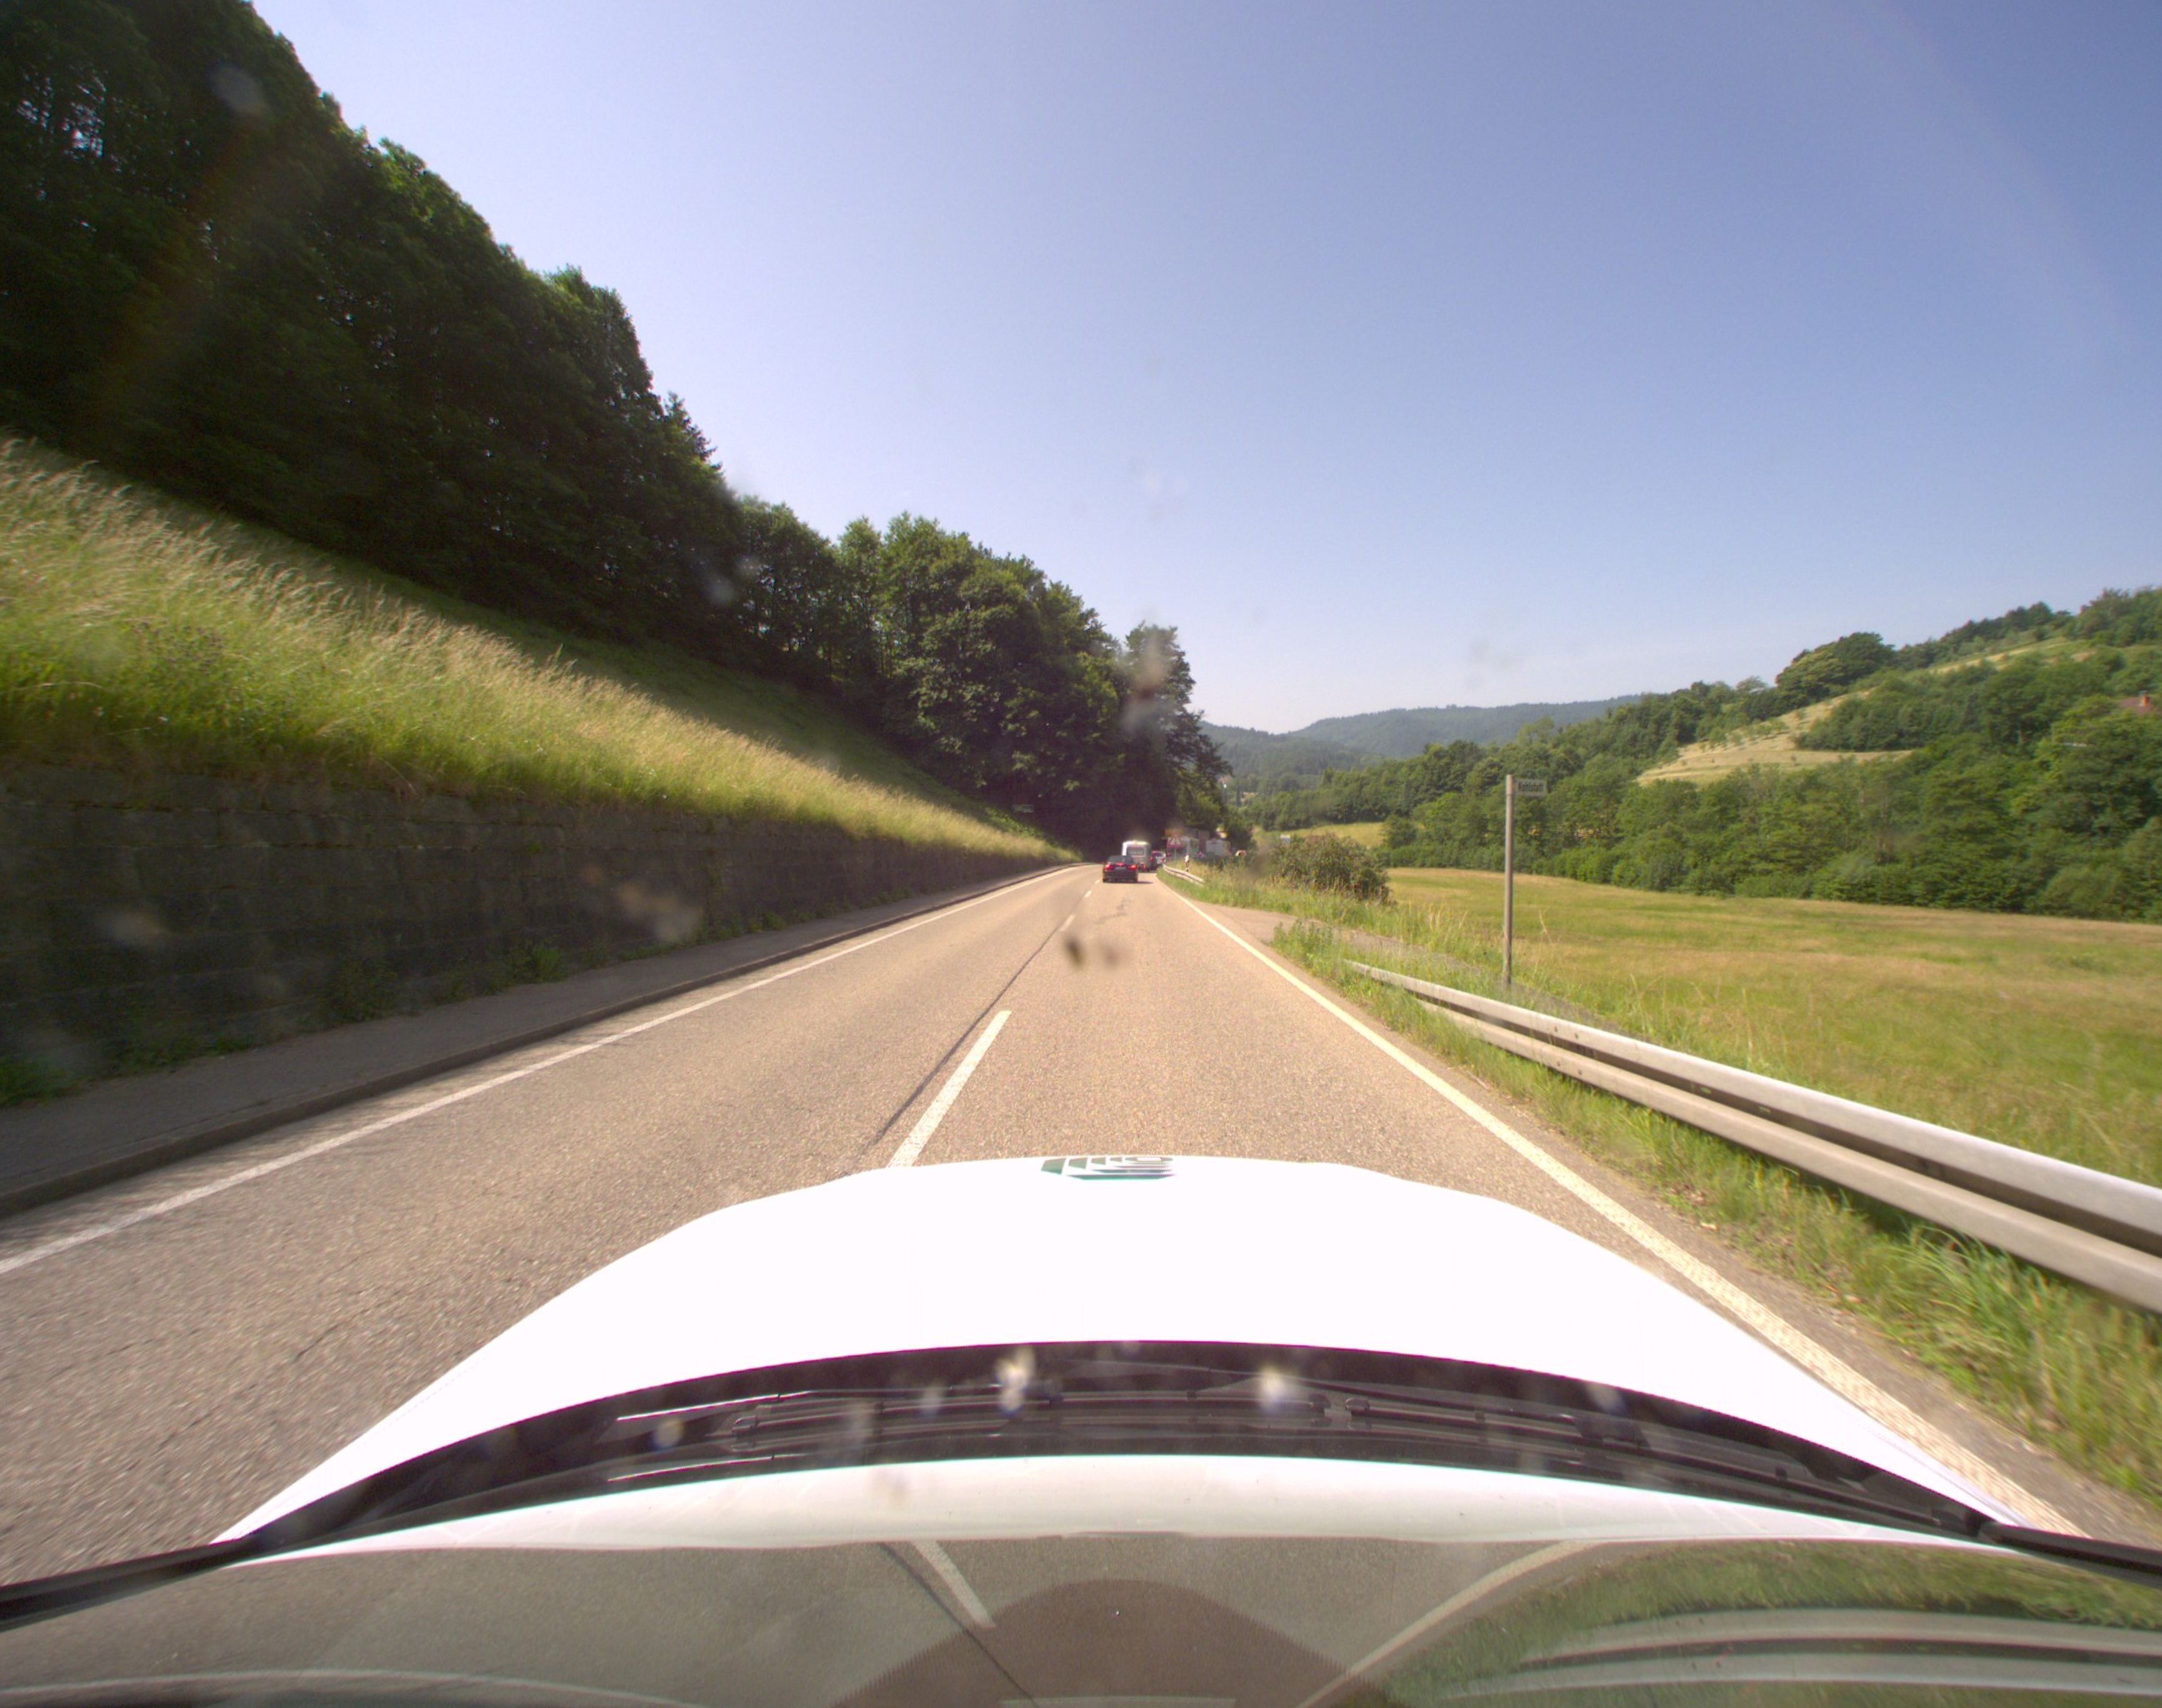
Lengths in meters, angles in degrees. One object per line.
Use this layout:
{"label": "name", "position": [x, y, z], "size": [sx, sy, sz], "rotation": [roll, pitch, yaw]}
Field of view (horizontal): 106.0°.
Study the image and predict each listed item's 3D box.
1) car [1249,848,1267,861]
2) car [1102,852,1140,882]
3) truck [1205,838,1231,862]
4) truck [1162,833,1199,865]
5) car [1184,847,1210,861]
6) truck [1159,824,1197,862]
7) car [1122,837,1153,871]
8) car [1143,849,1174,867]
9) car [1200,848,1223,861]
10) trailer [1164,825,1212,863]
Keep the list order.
{"label": "car", "position": [29.714, 0.061, 136.642], "size": [1.976, 1.925, 4.022], "rotation": [3, 2, 24]}
{"label": "car", "position": [2.003, 0.630, 40.712], "size": [1.764, 1.335, 3.769], "rotation": [3, 0, 2]}
{"label": "truck", "position": [17.910, -0.479, 105.843], "size": [2.219, 2.804, 6.262], "rotation": [2, -1, 19]}
{"label": "truck", "position": [10.330, -0.548, 84.272], "size": [2.771, 2.997, 6.895], "rotation": [3, 1, 14]}
{"label": "car", "position": [13.120, 0.010, 92.180], "size": [1.977, 1.463, 4.021], "rotation": [4, 2, 20]}
{"label": "truck", "position": [11.712, -1.337, 98.094], "size": [3.163, 4.396, 6.602], "rotation": [2, 1, 18]}
{"label": "car", "position": [4.188, -0.057, 59.874], "size": [1.983, 2.352, 4.923], "rotation": [1, 2, 6]}
{"label": "car", "position": [6.860, 0.319, 71.981], "size": [1.979, 1.484, 4.016], "rotation": [3, 1, 15]}
{"label": "car", "position": [15.901, 0.058, 99.238], "size": [1.772, 1.463, 4.021], "rotation": [4, 2, 22]}
{"label": "trailer", "position": [14.093, -1.282, 105.662], "size": [3.234, 4.417, 15.386], "rotation": [2, 1, 18]}
